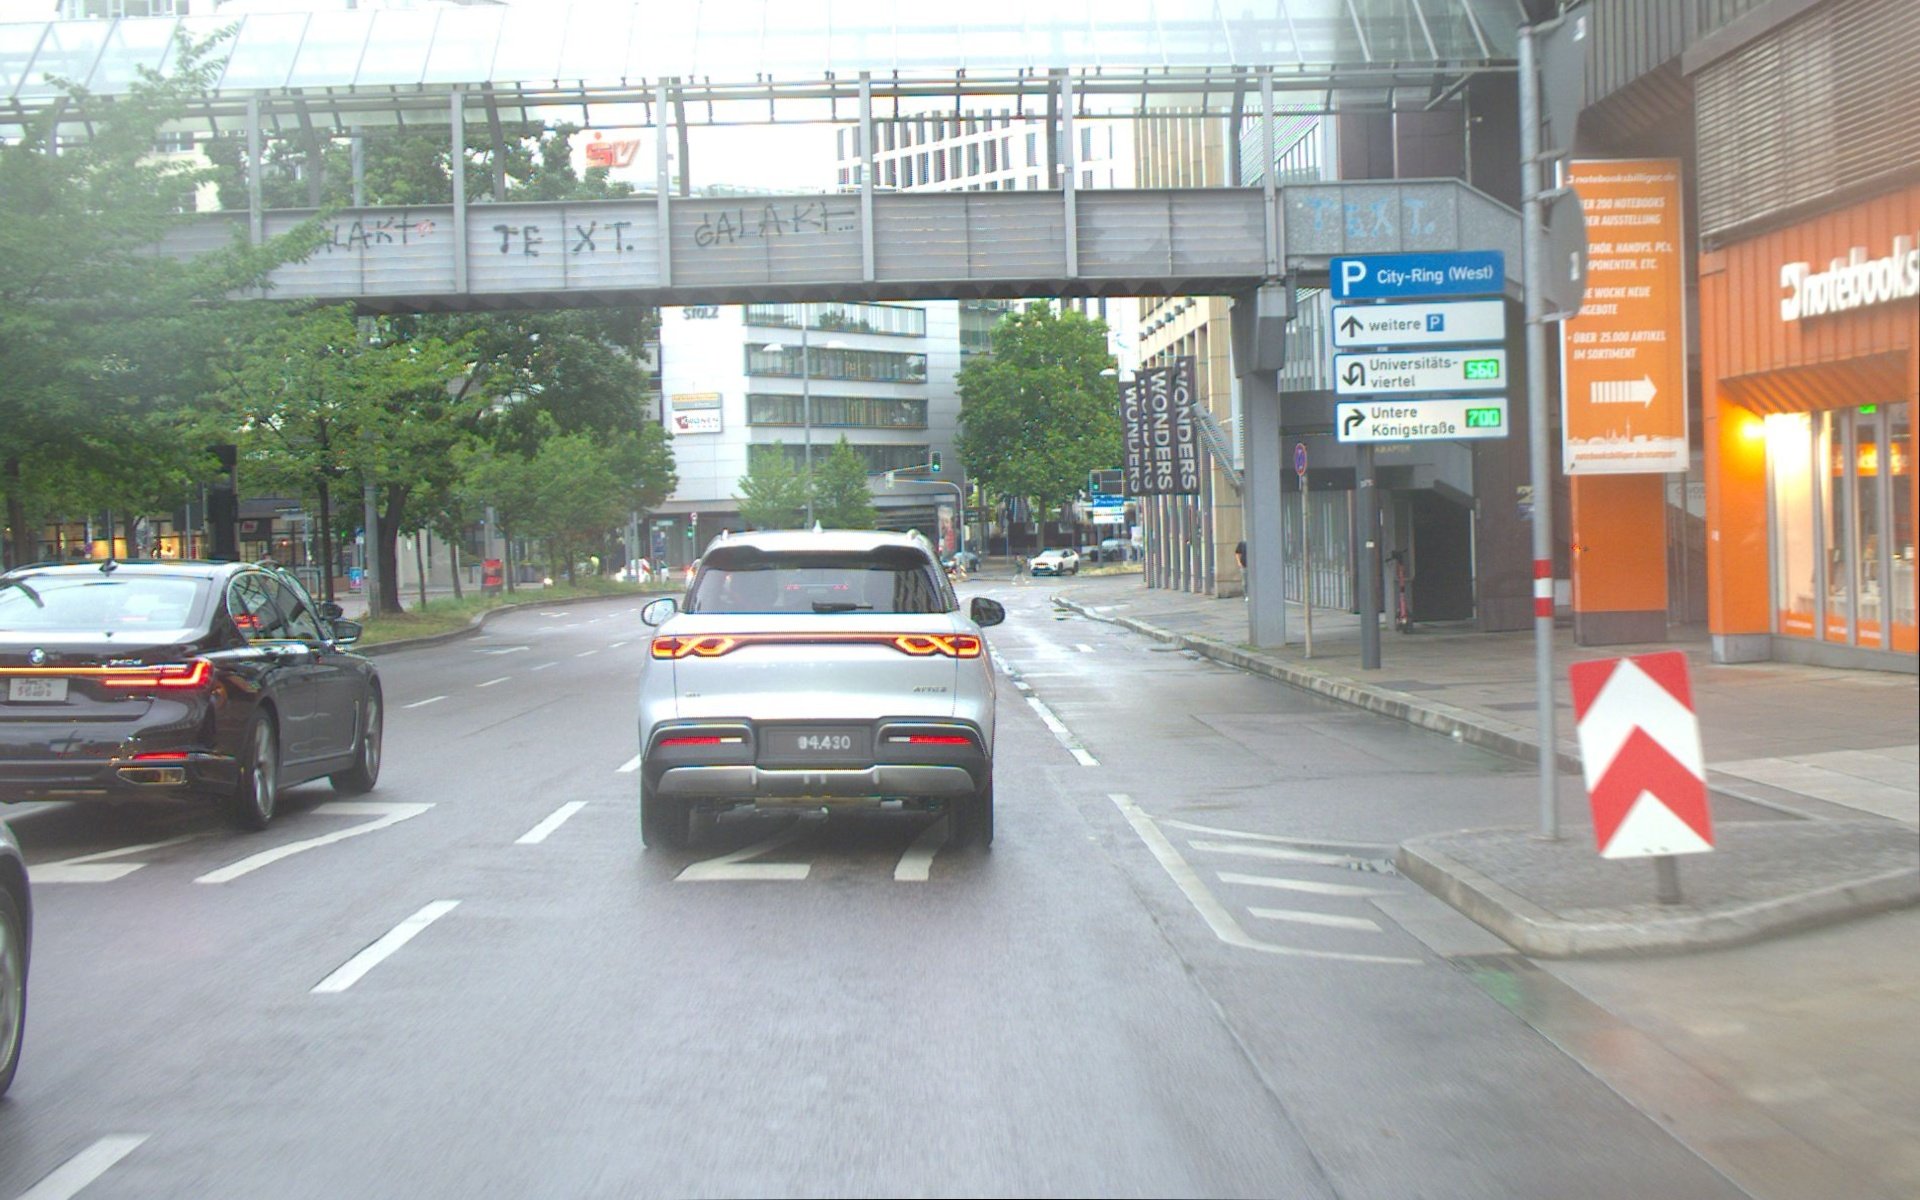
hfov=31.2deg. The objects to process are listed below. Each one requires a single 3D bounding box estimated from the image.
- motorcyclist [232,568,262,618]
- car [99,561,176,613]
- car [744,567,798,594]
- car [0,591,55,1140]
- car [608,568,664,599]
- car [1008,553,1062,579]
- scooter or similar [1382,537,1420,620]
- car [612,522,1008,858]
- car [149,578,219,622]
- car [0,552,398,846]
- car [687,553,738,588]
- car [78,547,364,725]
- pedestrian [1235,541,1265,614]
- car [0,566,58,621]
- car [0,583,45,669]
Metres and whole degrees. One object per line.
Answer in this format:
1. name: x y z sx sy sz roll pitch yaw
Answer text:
1. motorcyclist: -20.657 -0.202 99.656 0.638 1.413 0.970 -1 0 -1
2. car: -26.255 -0.424 109.795 1.623 1.605 4.232 0 1 -3
3. car: -10.531 -1.108 191.811 1.625 1.448 4.158 -1 0 18
4. car: -3.404 0.714 7.638 1.672 1.474 4.360 0 0 -1
5. car: -16.424 -0.824 174.285 1.624 1.487 4.305 -1 0 11
6. car: 4.658 -2.096 212.513 1.583 1.533 3.993 0 1 30
7. scooter or similar: 6.748 -0.334 52.635 0.349 1.251 1.395 -1 1 -1
8. car: -0.760 0.427 18.663 1.901 1.616 4.000 1 0 -1
9. car: -26.121 -0.011 115.852 1.623 1.455 3.963 0 1 -3
10. car: -4.577 0.477 19.889 1.872 1.474 4.878 -1 1 0
11. car: -9.875 -1.182 137.469 1.653 1.337 4.000 -1 1 1
12. car: -6.549 0.302 30.872 1.774 1.452 4.000 -1 0 -2
13. pedestrian: 7.155 -0.552 84.913 0.635 1.766 0.790 -1 0 0
14. car: -25.686 -0.155 92.882 1.623 1.428 4.446 -1 0 -3
15. car: -21.090 0.614 73.115 2.000 1.762 5.186 -4 1 -3
